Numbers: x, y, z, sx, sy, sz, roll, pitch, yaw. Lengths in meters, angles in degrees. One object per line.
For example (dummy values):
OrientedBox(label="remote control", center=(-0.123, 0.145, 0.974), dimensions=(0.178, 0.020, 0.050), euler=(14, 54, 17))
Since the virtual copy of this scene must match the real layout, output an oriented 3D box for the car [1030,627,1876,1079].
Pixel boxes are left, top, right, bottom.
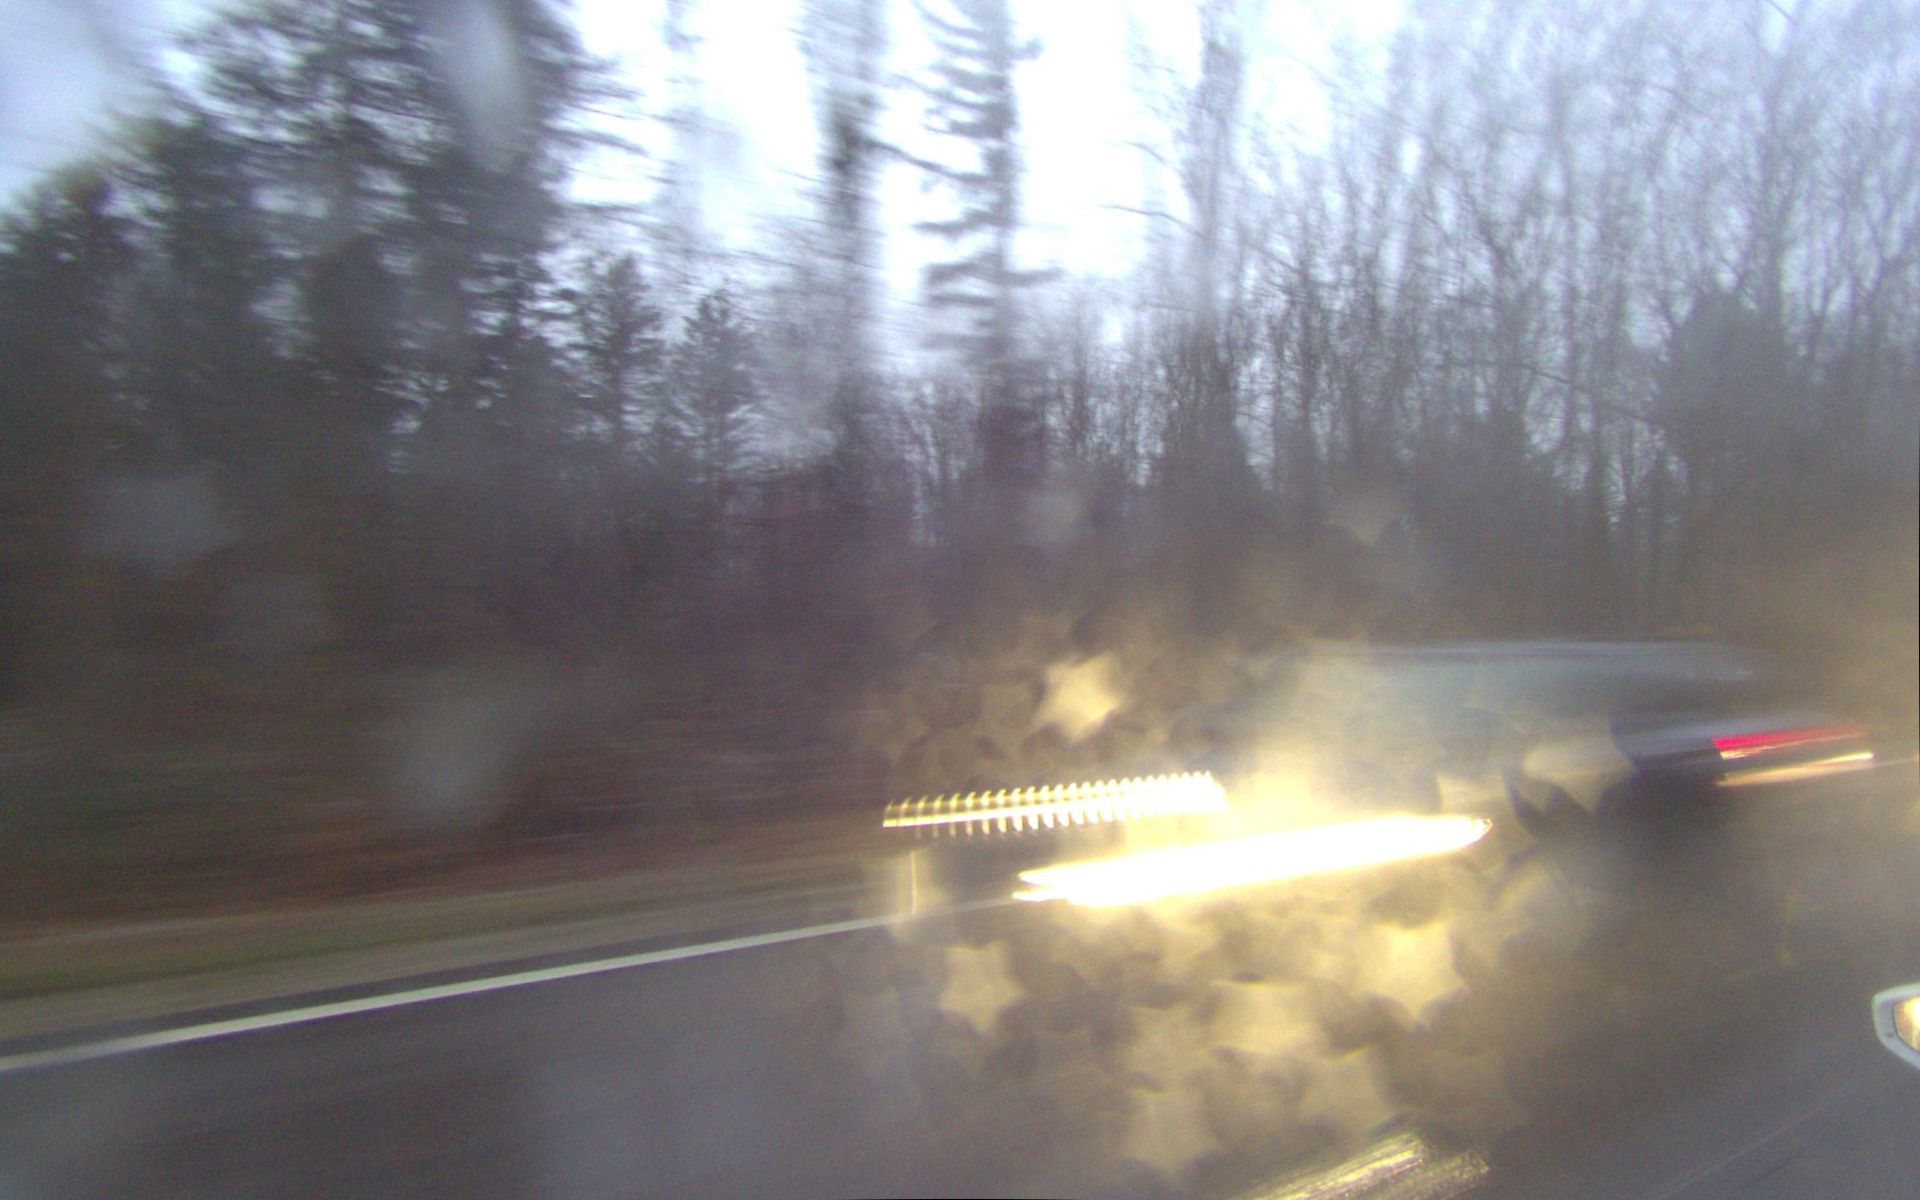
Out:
OrientedBox(label="car", center=(2.672, 0.887, 5.183), dimensions=(4.336, 1.441, 1.859), euler=(1, -1, -30))
